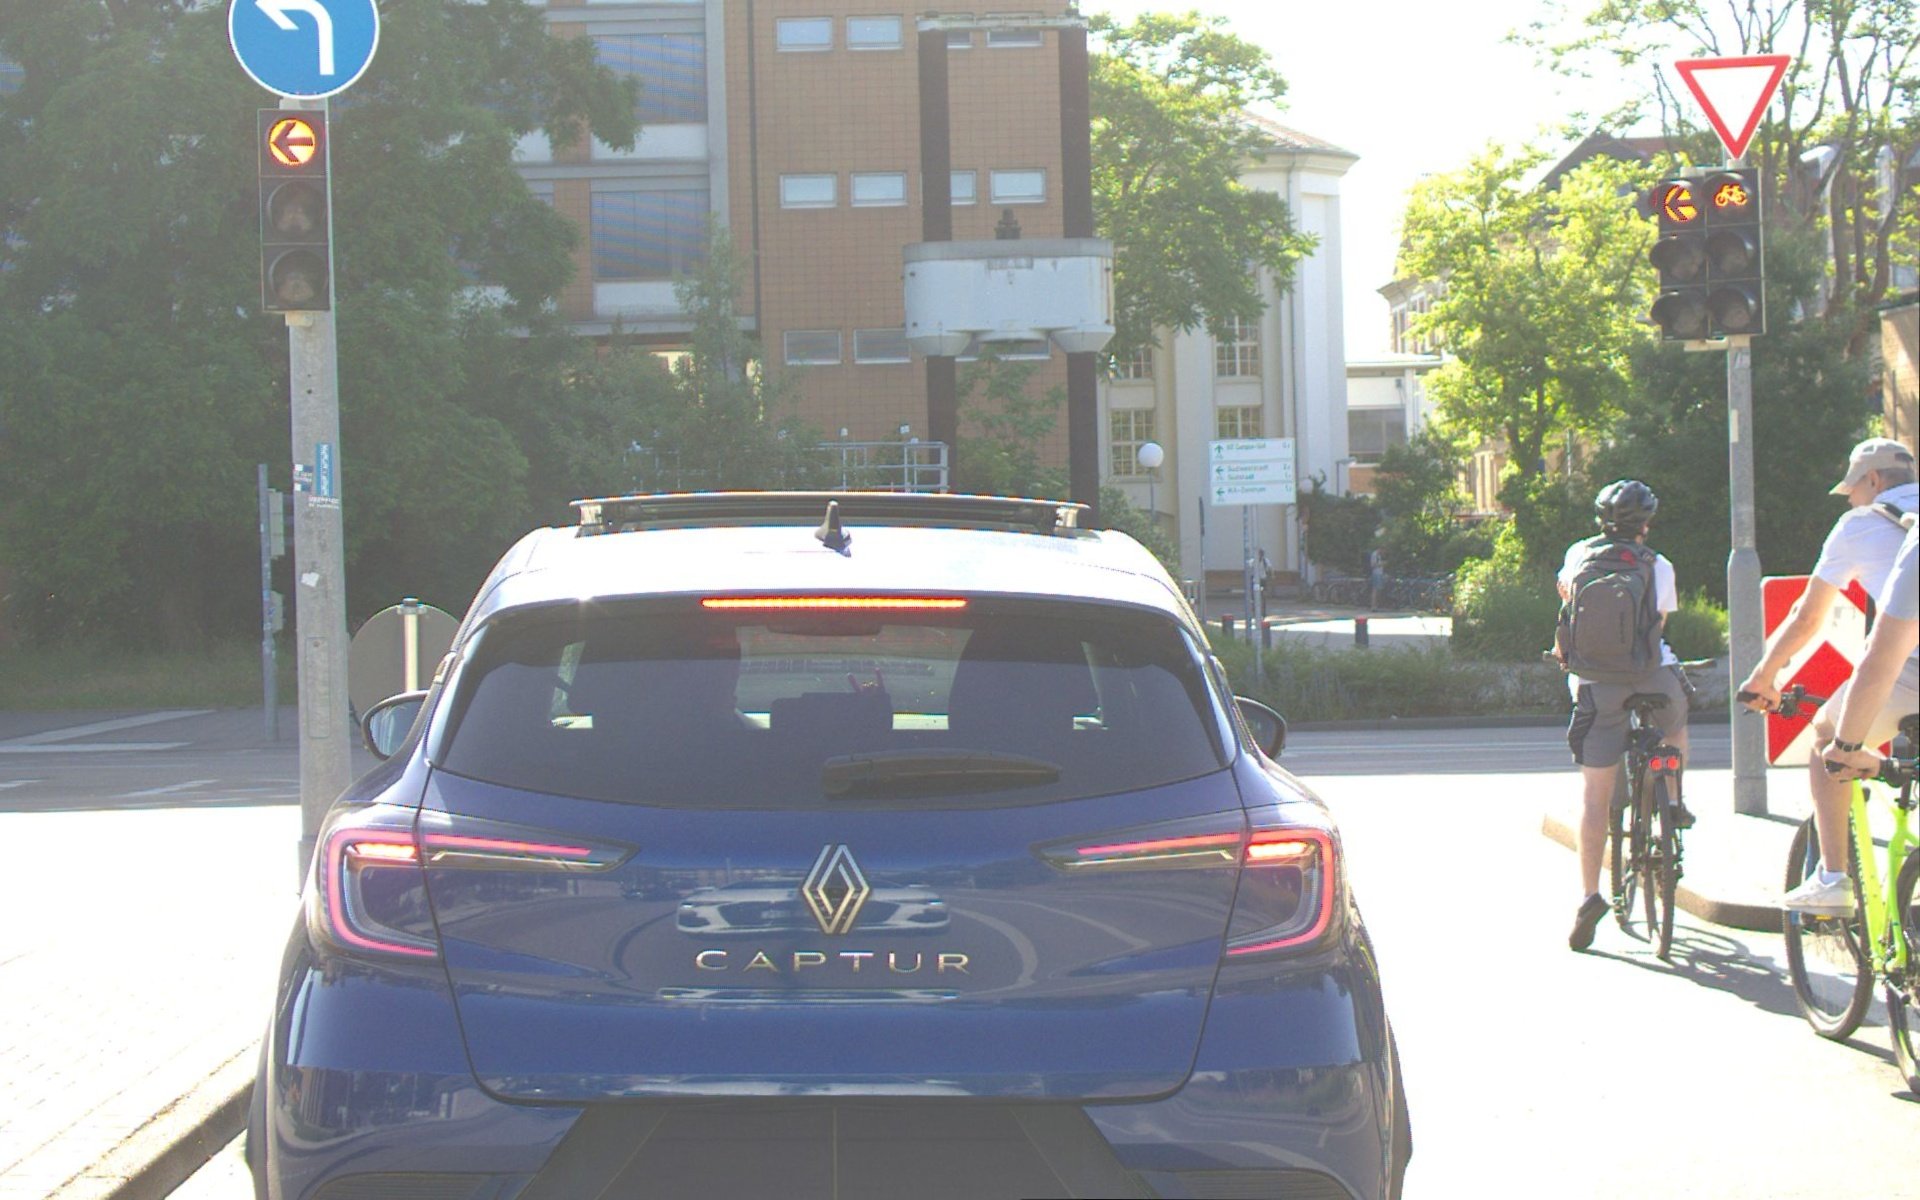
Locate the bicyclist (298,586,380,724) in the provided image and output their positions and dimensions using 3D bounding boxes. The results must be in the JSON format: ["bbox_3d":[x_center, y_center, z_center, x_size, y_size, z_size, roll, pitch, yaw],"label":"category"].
[{"bbox_3d":[-7.904,0.691,43.804,0.755,1.710,0.998,-1,1,5],"label":"bicyclist"}]

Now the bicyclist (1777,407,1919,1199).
[{"bbox_3d":[2.237,0.503,7.375,0.683,1.785,1.142,0,1,-1],"label":"bicyclist"}]

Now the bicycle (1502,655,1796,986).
[{"bbox_3d":[2.526,0.776,12.811,0.689,1.085,1.922,0,1,-1],"label":"bicycle"}]

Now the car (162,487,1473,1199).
[{"bbox_3d":[-0.272,0.612,6.657,1.788,1.580,3.915,0,1,-2],"label":"car"}]

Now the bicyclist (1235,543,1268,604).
[{"bbox_3d":[7.158,-0.655,84.404,0.694,1.476,0.717,-1,1,-1],"label":"bicyclist"}]

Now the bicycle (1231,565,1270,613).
[{"bbox_3d":[7.152,-0.277,84.677,0.694,1.136,2.441,-1,1,-1],"label":"bicycle"}]

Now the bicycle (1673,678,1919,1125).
[{"bbox_3d":[2.595,0.802,9.844,0.689,1.085,1.922,0,1,-1],"label":"bicycle"}]

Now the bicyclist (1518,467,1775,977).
[{"bbox_3d":[2.496,0.420,12.604,0.699,1.785,1.142,0,1,-1],"label":"bicyclist"}]

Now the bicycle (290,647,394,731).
[{"bbox_3d":[-7.885,1.123,43.914,0.755,0.981,2.093,-1,1,5],"label":"bicycle"}]

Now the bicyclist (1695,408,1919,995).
[{"bbox_3d":[2.581,0.269,9.878,0.678,1.589,1.142,0,1,-1],"label":"bicyclist"}]

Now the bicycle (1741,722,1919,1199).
[{"bbox_3d":[2.232,0.848,7.302,0.689,1.085,1.922,0,1,-1],"label":"bicycle"}]
